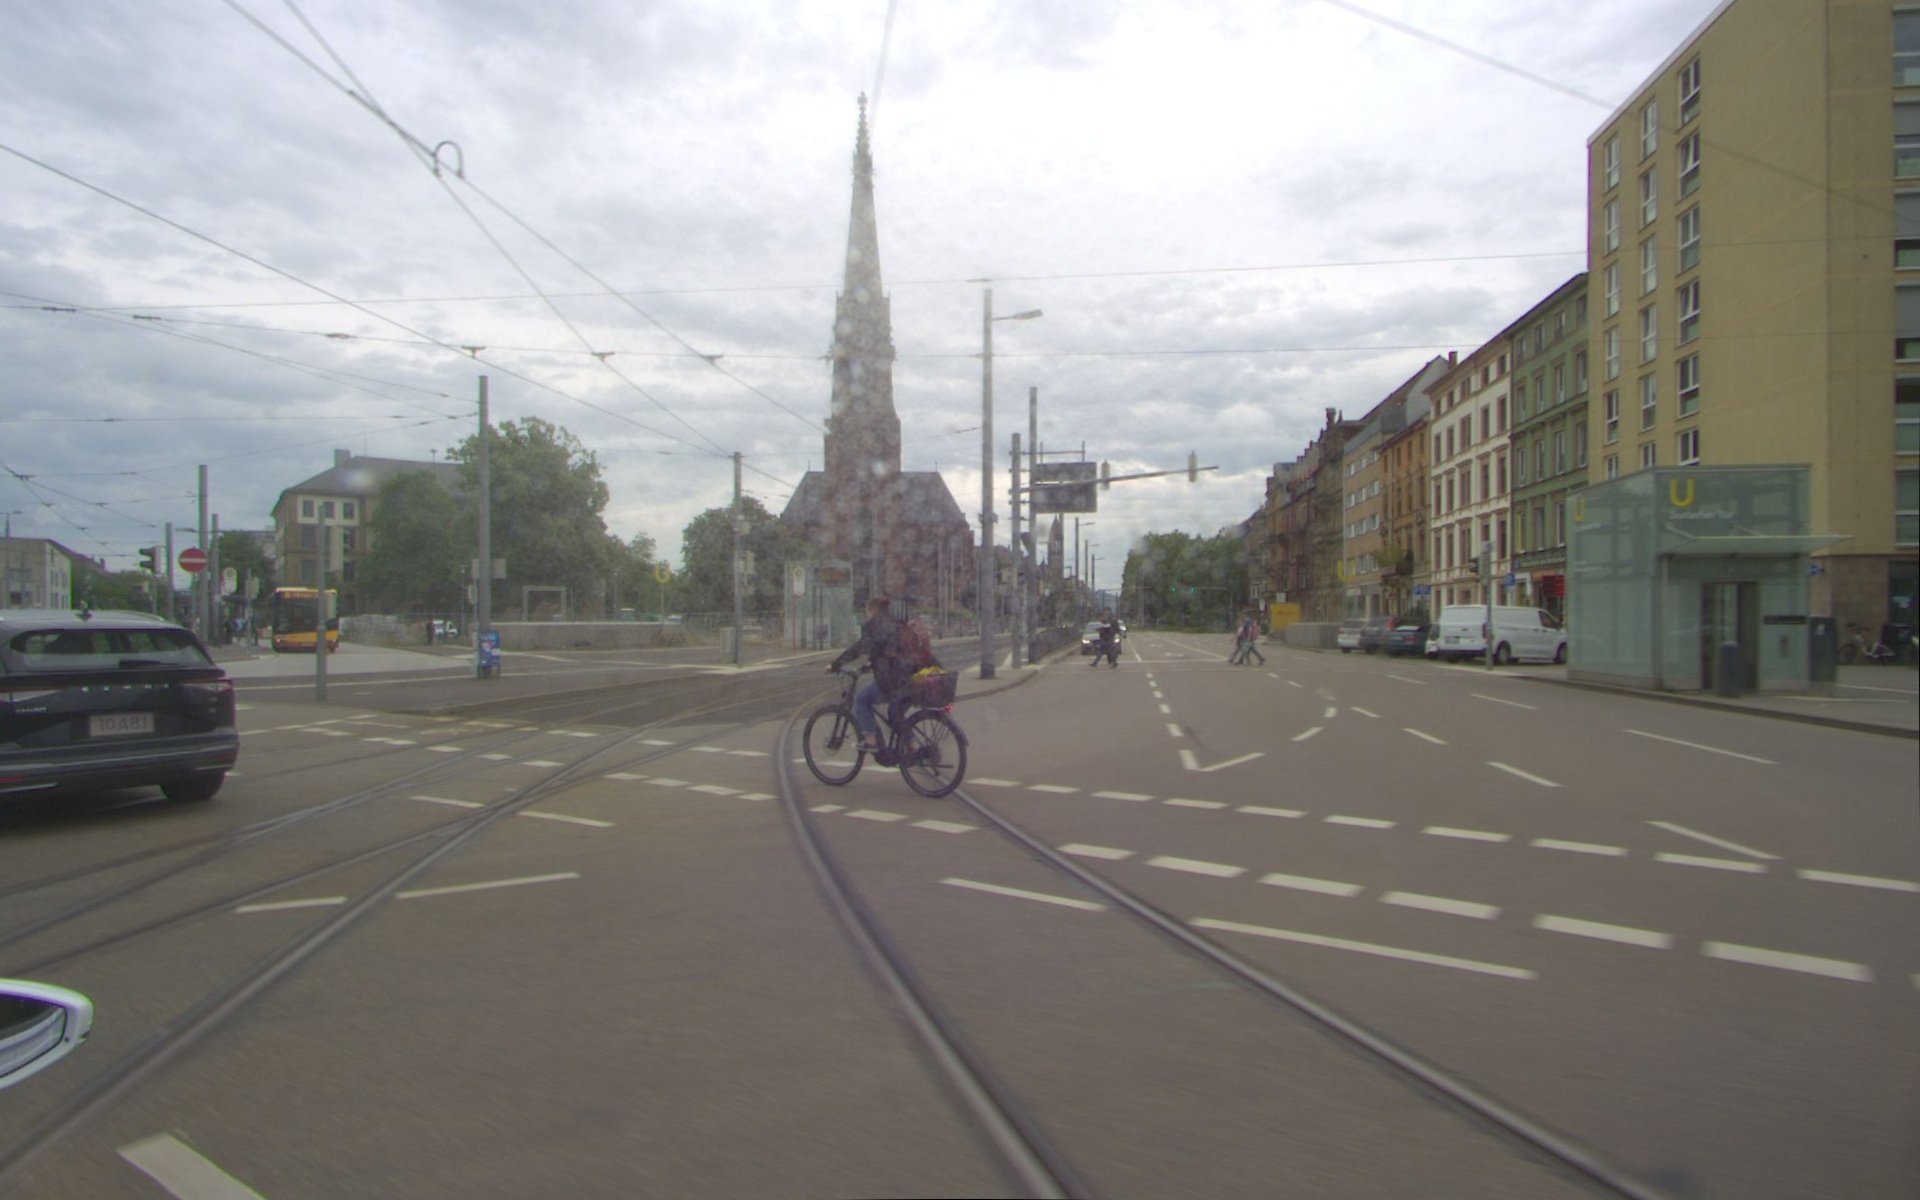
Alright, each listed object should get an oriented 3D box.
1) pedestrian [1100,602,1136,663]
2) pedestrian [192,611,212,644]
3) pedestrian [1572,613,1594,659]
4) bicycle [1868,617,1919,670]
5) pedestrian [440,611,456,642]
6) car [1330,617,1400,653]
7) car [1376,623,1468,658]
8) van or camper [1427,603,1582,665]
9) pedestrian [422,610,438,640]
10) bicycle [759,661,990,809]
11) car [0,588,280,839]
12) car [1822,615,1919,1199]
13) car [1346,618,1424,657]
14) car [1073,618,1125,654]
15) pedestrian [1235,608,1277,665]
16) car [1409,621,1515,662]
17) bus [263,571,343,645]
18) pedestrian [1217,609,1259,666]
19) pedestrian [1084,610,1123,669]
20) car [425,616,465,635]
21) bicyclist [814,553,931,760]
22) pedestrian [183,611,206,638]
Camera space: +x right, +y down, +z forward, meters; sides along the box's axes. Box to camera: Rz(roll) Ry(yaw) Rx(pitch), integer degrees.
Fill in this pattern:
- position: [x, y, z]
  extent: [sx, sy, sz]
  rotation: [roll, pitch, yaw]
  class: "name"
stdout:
- position: [5.056, 1.045, 32.092]
  extent: [0.887, 1.937, 0.783]
  rotation: [0, 0, -13]
  class: "pedestrian"
- position: [-42.412, 1.534, 56.048]
  extent: [0.815, 1.832, 1.015]
  rotation: [0, 0, -32]
  class: "pedestrian"
- position: [23.580, 1.354, 37.923]
  extent: [0.607, 1.738, 0.821]
  rotation: [0, 1, 27]
  class: "pedestrian"
- position: [25.697, 1.157, 26.710]
  extent: [0.886, 1.395, 2.782]
  rotation: [0, -1, 11]
  class: "bicycle"
- position: [-31.964, 1.649, 62.548]
  extent: [0.815, 1.878, 1.015]
  rotation: [0, 0, -32]
  class: "pedestrian"
- position: [18.869, 1.601, 46.566]
  extent: [3.703, 1.608, 1.719]
  rotation: [1, -1, -45]
  class: "car"
- position: [18.380, 1.569, 39.812]
  extent: [3.689, 1.321, 1.670]
  rotation: [1, -1, -34]
  class: "car"
- position: [18.645, 1.120, 34.231]
  extent: [5.388, 2.004, 2.161]
  rotation: [0, -1, -30]
  class: "van or camper"
- position: [-32.854, 1.565, 62.020]
  extent: [0.815, 1.832, 1.015]
  rotation: [0, 0, -32]
  class: "pedestrian"
- position: [-0.788, 1.118, 8.758]
  extent: [2.097, 1.069, 0.623]
  rotation: [0, 0, 35]
  class: "bicycle"
- position: [-7.966, 0.779, 8.468]
  extent: [4.446, 1.680, 1.901]
  rotation: [0, -1, 29]
  class: "car"
- position: [4.097, 0.753, 1.025]
  extent: [4.693, 1.455, 1.760]
  rotation: [0, -1, 35]
  class: "car"
- position: [18.427, 1.578, 43.404]
  extent: [3.703, 1.602, 1.873]
  rotation: [1, -1, -45]
  class: "car"
- position: [6.195, 1.559, 44.192]
  extent: [1.962, 1.505, 4.443]
  rotation: [0, -1, 12]
  class: "car"
- position: [8.469, 1.042, 28.676]
  extent: [0.880, 1.623, 0.783]
  rotation: [0, 0, -13]
  class: "pedestrian"
- position: [18.808, 1.527, 37.526]
  extent: [3.681, 1.436, 1.728]
  rotation: [1, 0, -27]
  class: "car"
- position: [-33.710, 0.483, 51.117]
  extent: [2.988, 3.310, 12.953]
  rotation: [1, -1, -35]
  class: "bus"
- position: [8.159, 1.086, 29.398]
  extent: [0.934, 1.633, 0.768]
  rotation: [0, 0, -13]
  class: "pedestrian"
- position: [4.106, 1.121, 28.742]
  extent: [0.887, 1.665, 0.783]
  rotation: [0, 0, -13]
  class: "pedestrian"
- position: [-44.984, 2.202, 87.415]
  extent: [3.956, 1.683, 1.899]
  rotation: [-1, -1, 43]
  class: "car"
- position: [-0.763, 0.472, 8.750]
  extent: [0.794, 1.712, 0.614]
  rotation: [1, 0, 34]
  class: "bicyclist"
- position: [-46.051, 1.442, 60.218]
  extent: [1.007, 1.596, 1.001]
  rotation: [0, 0, -33]
  class: "pedestrian"
